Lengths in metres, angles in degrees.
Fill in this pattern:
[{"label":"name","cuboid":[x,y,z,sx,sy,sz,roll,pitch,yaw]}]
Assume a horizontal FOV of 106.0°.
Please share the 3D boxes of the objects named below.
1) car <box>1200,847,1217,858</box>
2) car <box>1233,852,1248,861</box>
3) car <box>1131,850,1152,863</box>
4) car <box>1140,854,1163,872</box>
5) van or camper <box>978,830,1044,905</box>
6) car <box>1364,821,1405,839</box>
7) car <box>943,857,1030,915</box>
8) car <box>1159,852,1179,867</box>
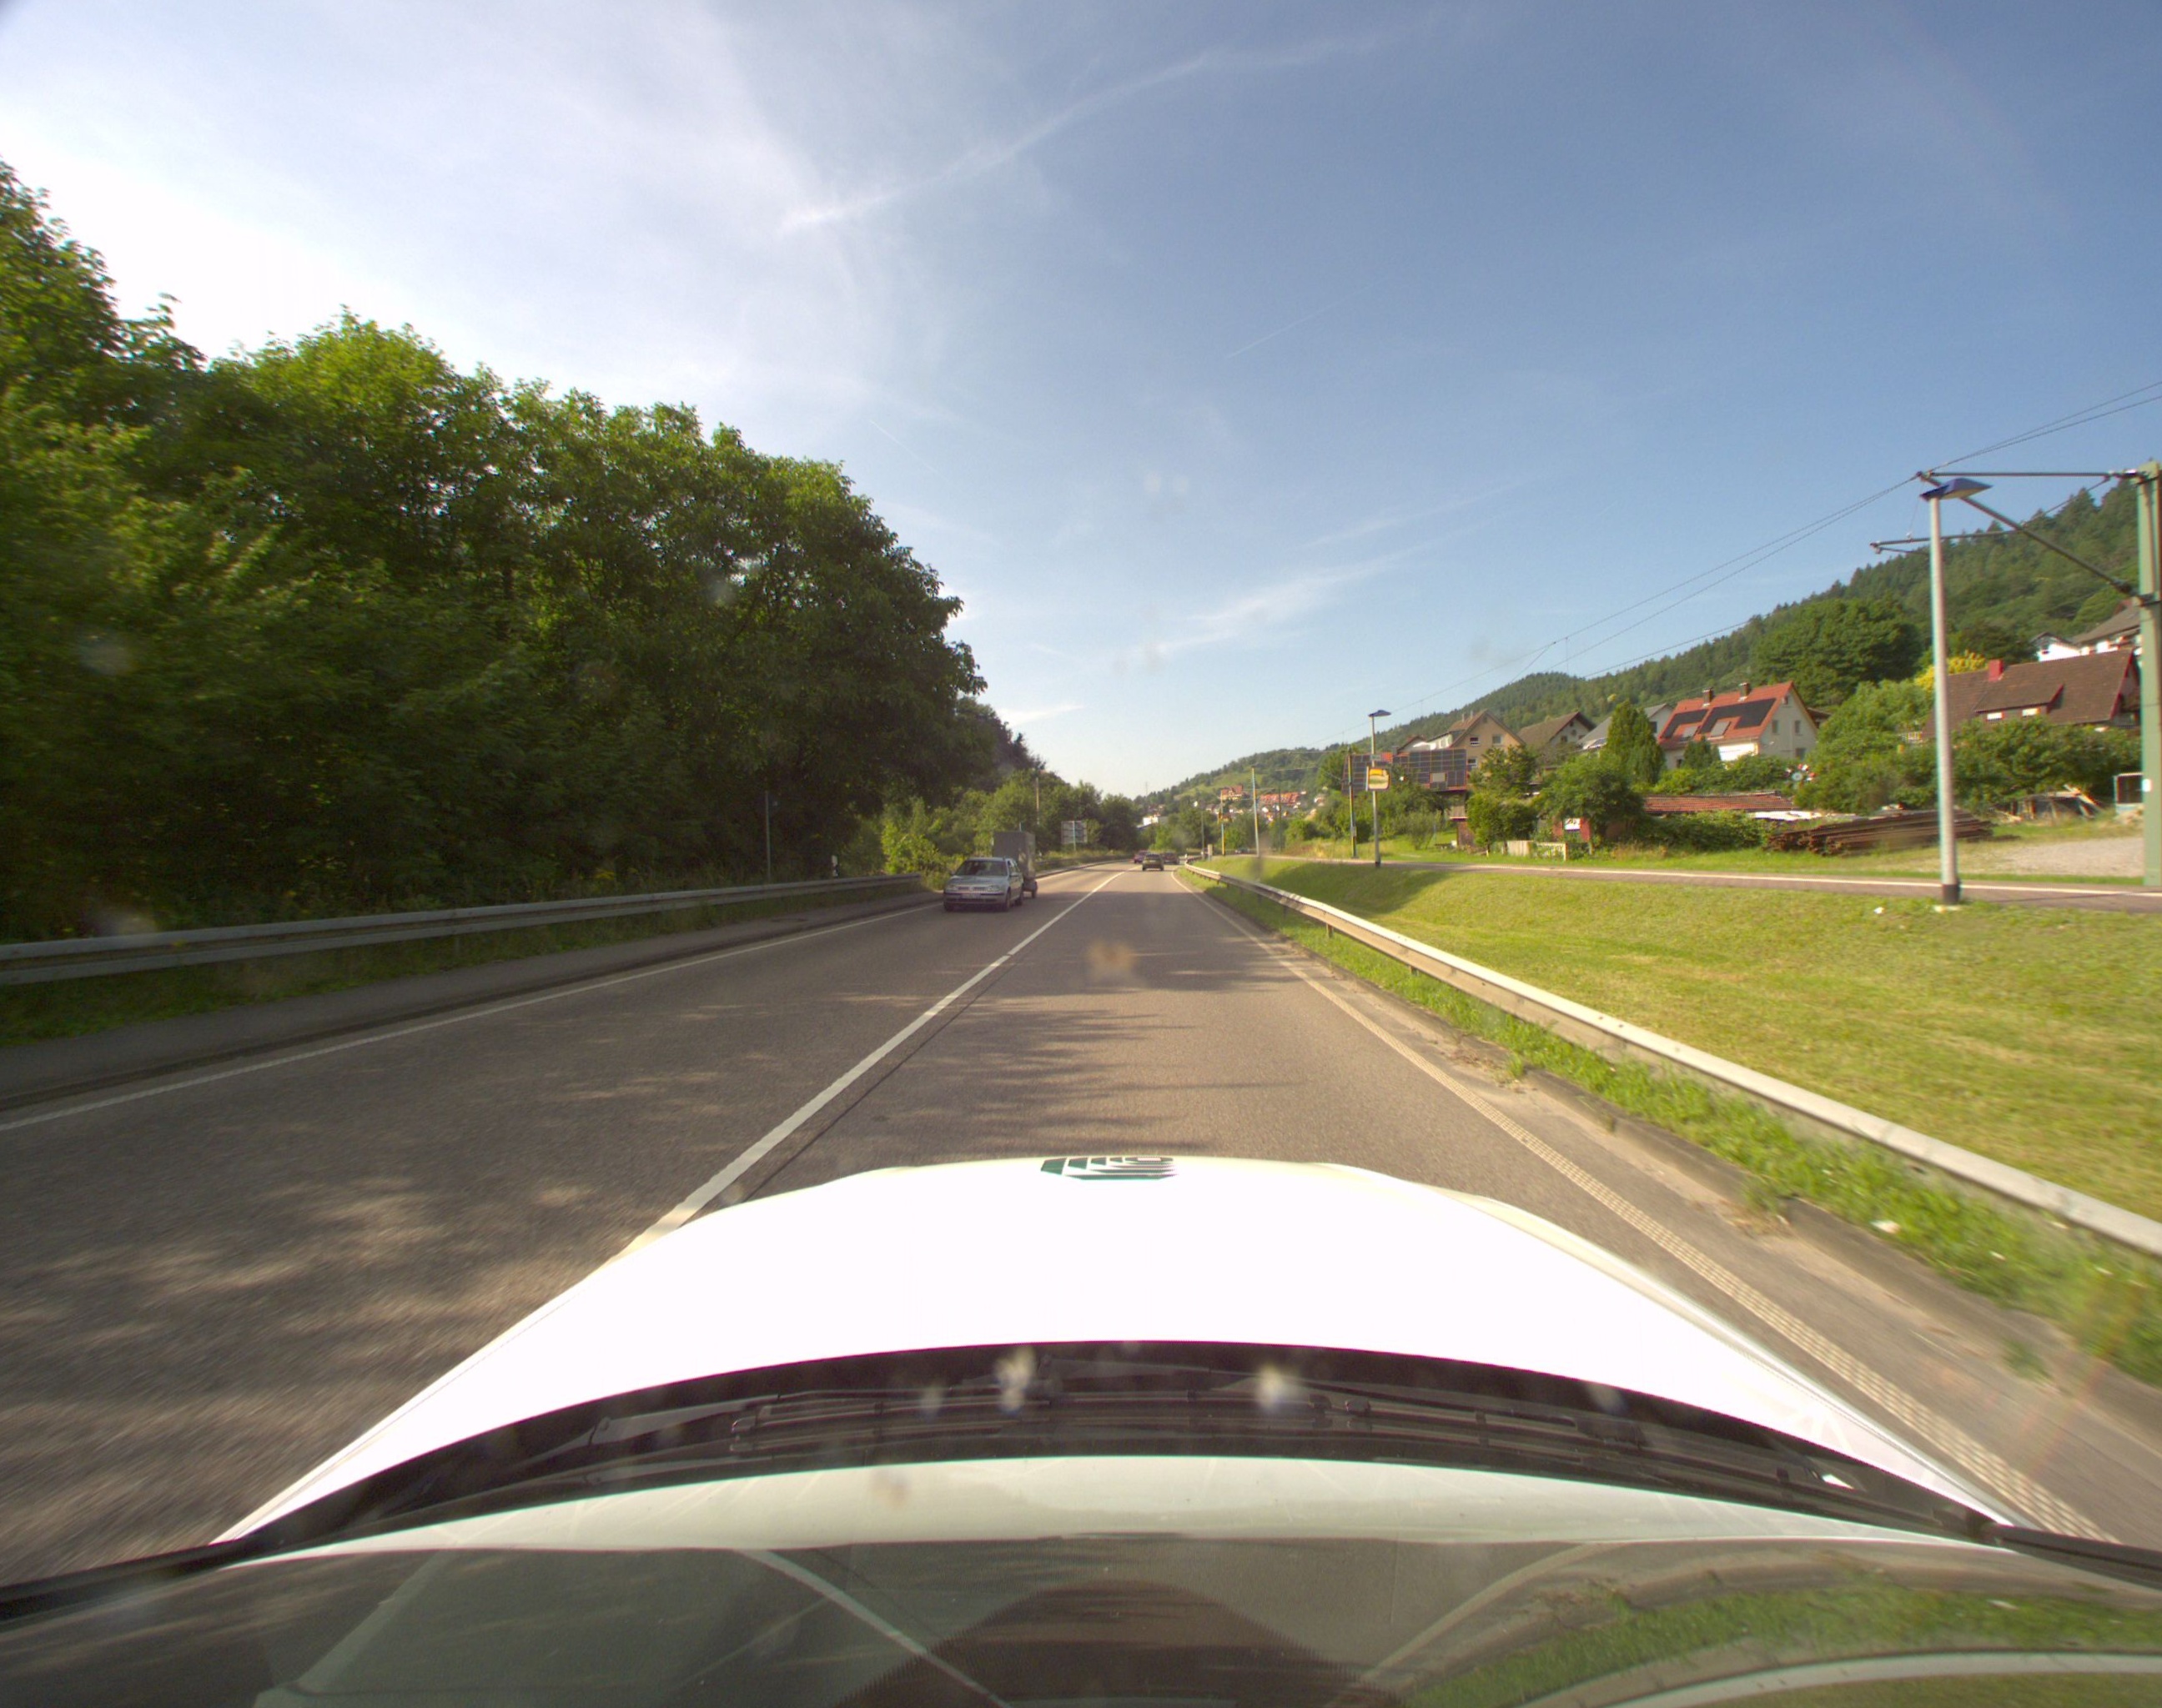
[{"label":"car","cuboid":[19.000,-0.207,121.395,1.791,1.453,3.666,-3,0,20]},{"label":"car","cuboid":[28.260,0.409,144.083,1.792,1.408,3.795,-3,0,24]},{"label":"car","cuboid":[6.989,0.286,93.407,1.830,1.469,4.959,1,1,11]},{"label":"car","cuboid":[5.993,0.746,68.982,1.720,1.457,3.416,-3,0,6]},{"label":"van or camper","cuboid":[-2.303,0.404,27.633,1.595,2.328,4.064,1,0,4]},{"label":"car","cuboid":[32.357,-2.562,86.908,3.953,1.684,2.010,-3,0,20]},{"label":"car","cuboid":[-2.575,0.839,23.281,1.641,1.436,4.610,0,0,4]},{"label":"car","cuboid":[9.816,0.620,90.919,1.828,1.459,3.724,-3,0,10]}]
